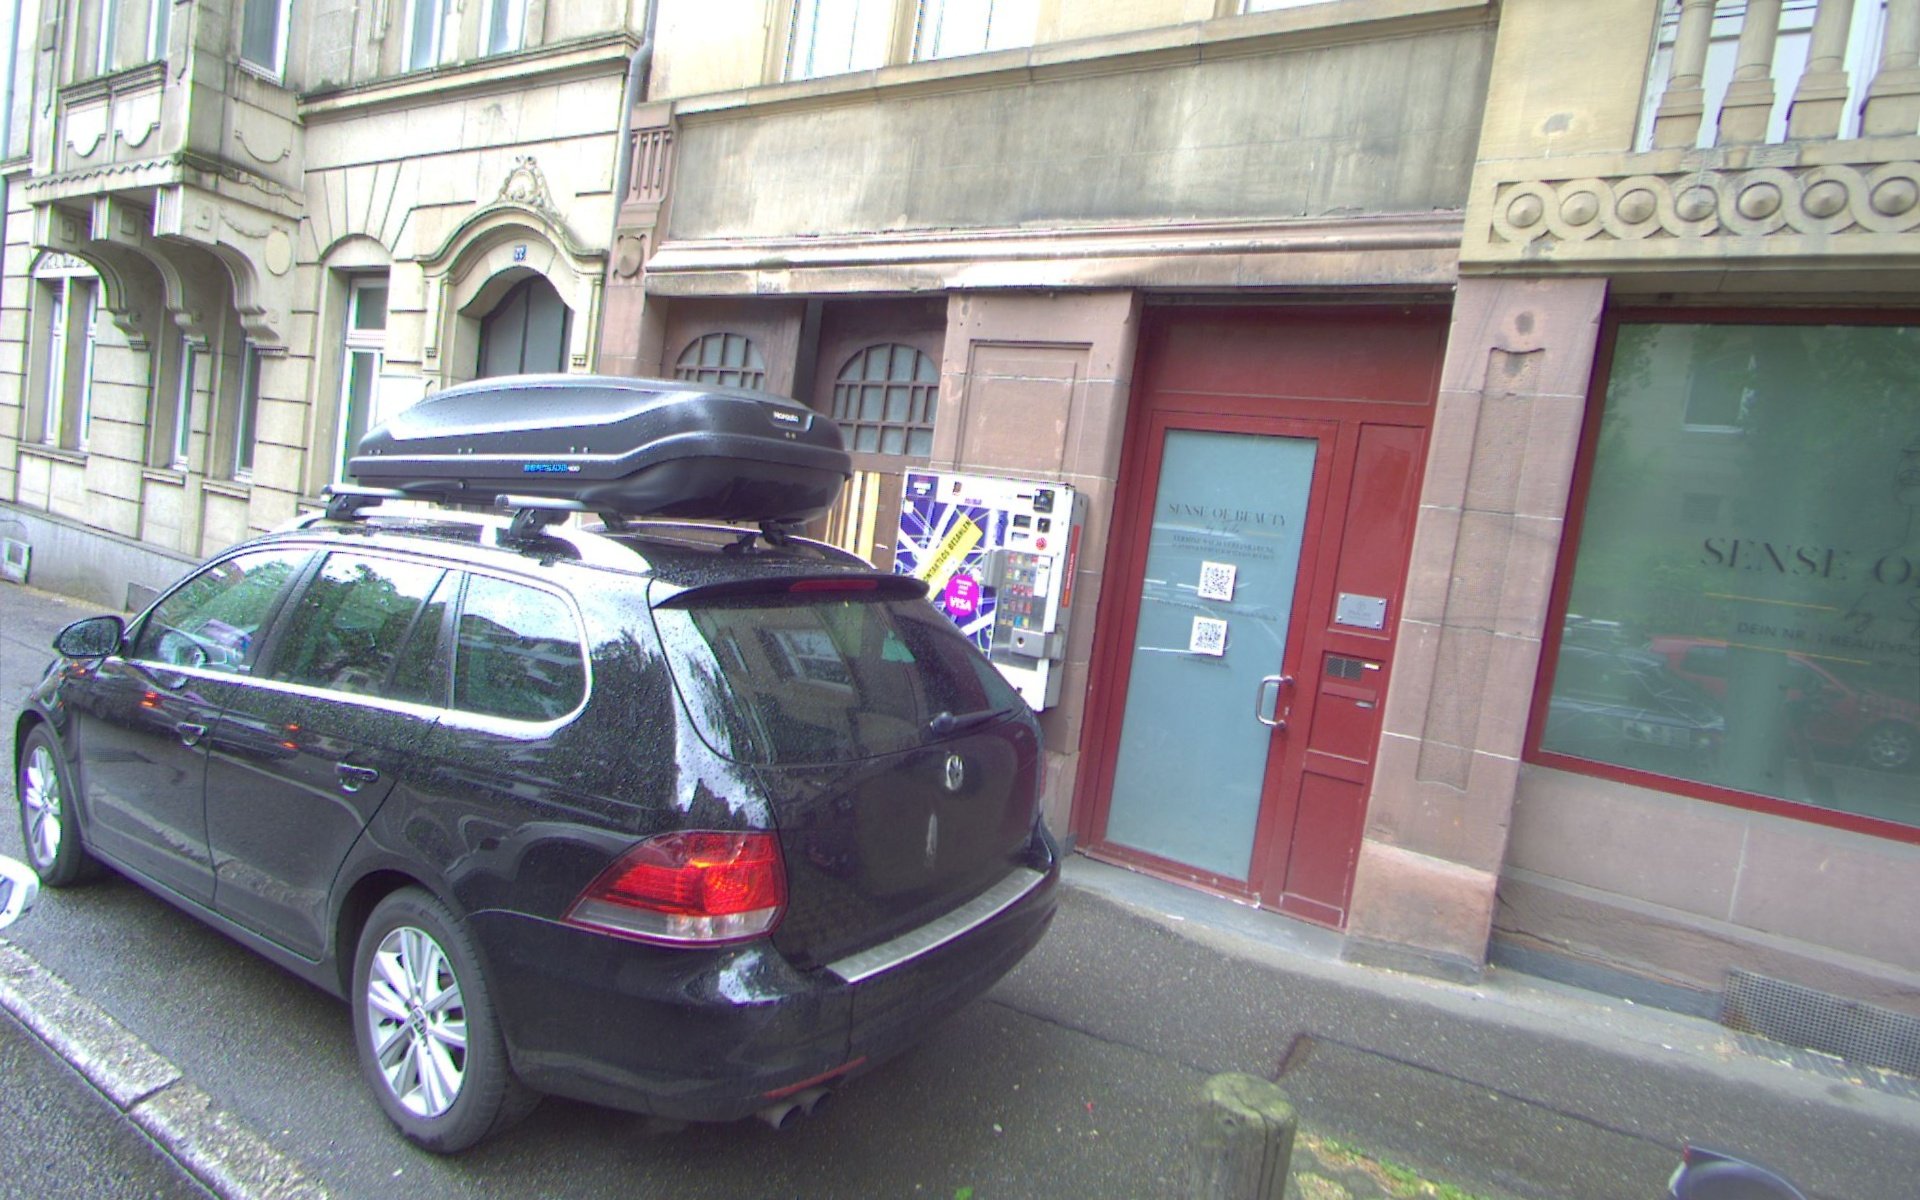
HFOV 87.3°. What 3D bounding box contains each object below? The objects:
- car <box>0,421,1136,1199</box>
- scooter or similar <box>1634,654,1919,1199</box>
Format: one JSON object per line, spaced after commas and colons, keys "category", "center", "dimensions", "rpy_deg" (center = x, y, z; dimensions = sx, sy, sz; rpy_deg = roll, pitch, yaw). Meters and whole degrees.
{"category": "car", "center": [-1.665, 0.344, 3.546], "dimensions": [4.031, 1.675, 1.757], "rpy_deg": [7, 6, 32]}
{"category": "scooter or similar", "center": [2.147, 0.850, 1.986], "dimensions": [1.183, 1.336, 0.593], "rpy_deg": [7, 3, 32]}
